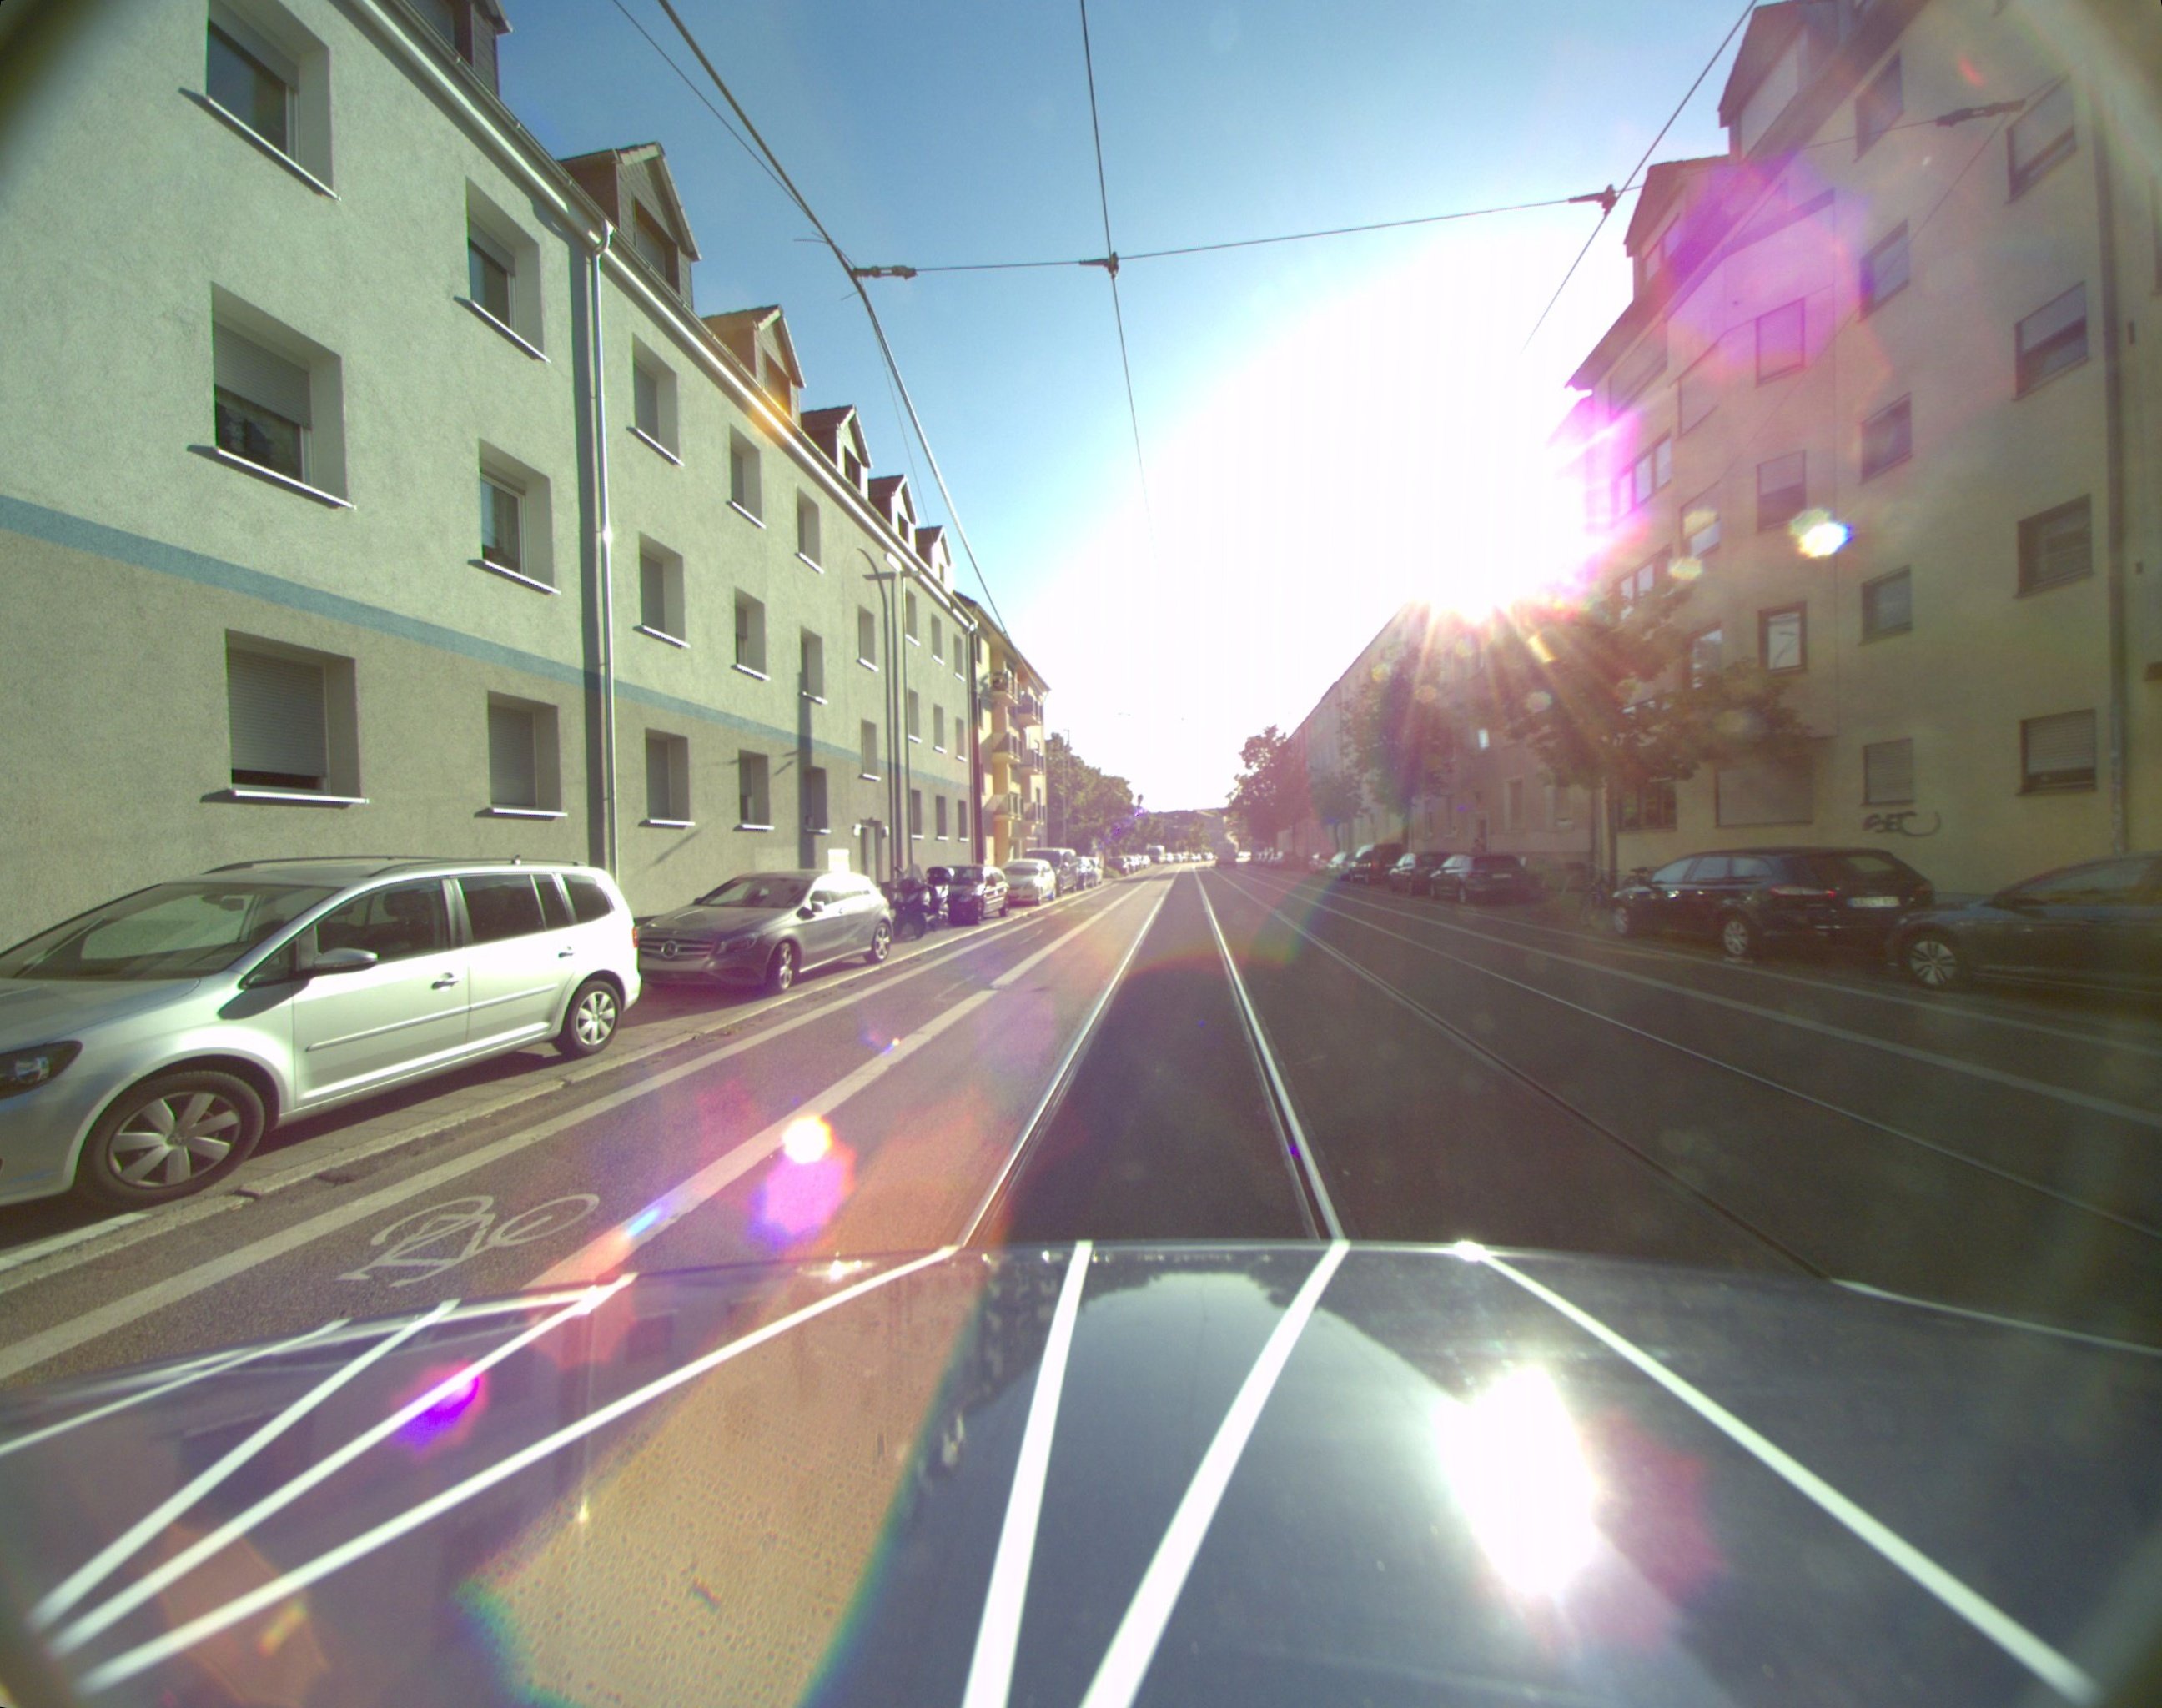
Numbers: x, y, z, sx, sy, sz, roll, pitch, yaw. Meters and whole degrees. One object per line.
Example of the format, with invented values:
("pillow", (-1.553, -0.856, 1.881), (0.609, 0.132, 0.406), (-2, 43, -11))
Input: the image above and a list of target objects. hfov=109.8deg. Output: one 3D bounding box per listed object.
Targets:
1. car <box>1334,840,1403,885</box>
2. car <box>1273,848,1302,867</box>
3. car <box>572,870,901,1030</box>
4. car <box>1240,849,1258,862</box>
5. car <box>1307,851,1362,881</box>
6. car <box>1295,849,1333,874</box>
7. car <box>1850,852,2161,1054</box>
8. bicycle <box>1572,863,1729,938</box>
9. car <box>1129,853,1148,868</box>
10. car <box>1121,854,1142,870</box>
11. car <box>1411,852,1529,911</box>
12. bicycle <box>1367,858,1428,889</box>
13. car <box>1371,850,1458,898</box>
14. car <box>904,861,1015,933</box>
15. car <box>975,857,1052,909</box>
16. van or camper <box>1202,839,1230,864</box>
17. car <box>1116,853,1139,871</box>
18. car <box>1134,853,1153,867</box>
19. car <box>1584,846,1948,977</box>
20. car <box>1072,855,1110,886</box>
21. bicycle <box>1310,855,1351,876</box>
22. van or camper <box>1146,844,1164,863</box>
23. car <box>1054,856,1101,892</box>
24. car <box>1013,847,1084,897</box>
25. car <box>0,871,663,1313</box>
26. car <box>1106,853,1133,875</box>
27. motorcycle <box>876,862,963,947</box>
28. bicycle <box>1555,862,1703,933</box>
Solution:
("car", (13.103, 0.372, 34.925), (1.769, 1.835, 4.425), (-4, 0, 6))
("car", (18.255, 0.300, 67.330), (1.687, 1.614, 4.050), (-1, 0, 5))
("car", (-4.215, 1.056, 10.256), (1.867, 1.546, 4.369), (0, 0, 10))
("car", (21.109, 0.183, 95.486), (1.687, 1.542, 3.952), (-1, 0, 5))
("car", (13.410, 0.588, 40.423), (1.768, 1.464, 4.861), (-2, 0, 7))
("car", (15.056, 0.447, 49.325), (1.768, 1.464, 4.755), (-2, 0, 10))
("car", (9.331, 0.772, 6.369), (1.739, 1.533, 4.130), (-1, 0, 3))
("bicycle", (10.691, 0.868, 14.334), (2.297, 1.326, 0.700), (-1, 1, 8))
("car", (6.055, 0.665, 79.565), (1.827, 1.562, 4.480), (0, 0, 7))
("car", (4.992, 0.770, 74.587), (1.827, 1.562, 4.480), (0, 0, 7))
("car", (11.382, 0.738, 22.551), (1.768, 1.464, 4.044), (-4, 0, 8))
("bicycle", (12.916, 0.797, 31.094), (2.115, 1.099, 0.747), (-4, 0, 6))
("car", (11.925, 0.663, 27.471), (1.768, 1.464, 4.183), (-4, 0, 9))
("car", (-2.942, 0.997, 19.245), (1.611, 1.562, 3.907), (0, 1, 10))
("car", (-2.188, 0.912, 25.684), (1.804, 1.562, 3.906), (0, 0, 8))
("van or camper", (14.475, -0.243, 81.874), (2.374, 2.538, 6.837), (-1, 0, 6))
("car", (4.291, 0.708, 69.297), (1.827, 1.562, 4.480), (0, 0, 7))
("car", (7.068, 0.669, 85.453), (1.827, 1.562, 4.480), (0, 0, 7))
("car", (9.655, 0.678, 11.373), (1.768, 1.533, 4.736), (-1, 0, 9))
("car", (0.574, 0.847, 40.921), (1.556, 1.533, 3.634), (0, 1, 9))
("bicycle", (14.735, 0.655, 44.929), (2.148, 1.136, 0.660), (-3, 1, 4))
("van or camper", (10.718, -0.108, 109.916), (2.089, 2.548, 5.697), (-2, 1, 10))
("car", (-0.093, 0.918, 36.511), (1.611, 1.562, 4.221), (0, 1, 9))
("car", (-1.250, 0.681, 31.597), (1.932, 1.910, 5.007), (0, 0, 9))
("car", (-5.051, 1.007, 4.952), (1.758, 1.656, 4.628), (0, 0, 6))
("car", (3.056, 0.751, 59.572), (1.611, 1.562, 4.481), (0, 0, 9))
("motorcycle", (-3.268, 0.968, 15.712), (0.807, 1.513, 2.710), (3, 1, 8))
("bicycle", (10.803, 0.858, 15.050), (2.297, 1.326, 0.700), (-1, 1, 8))
